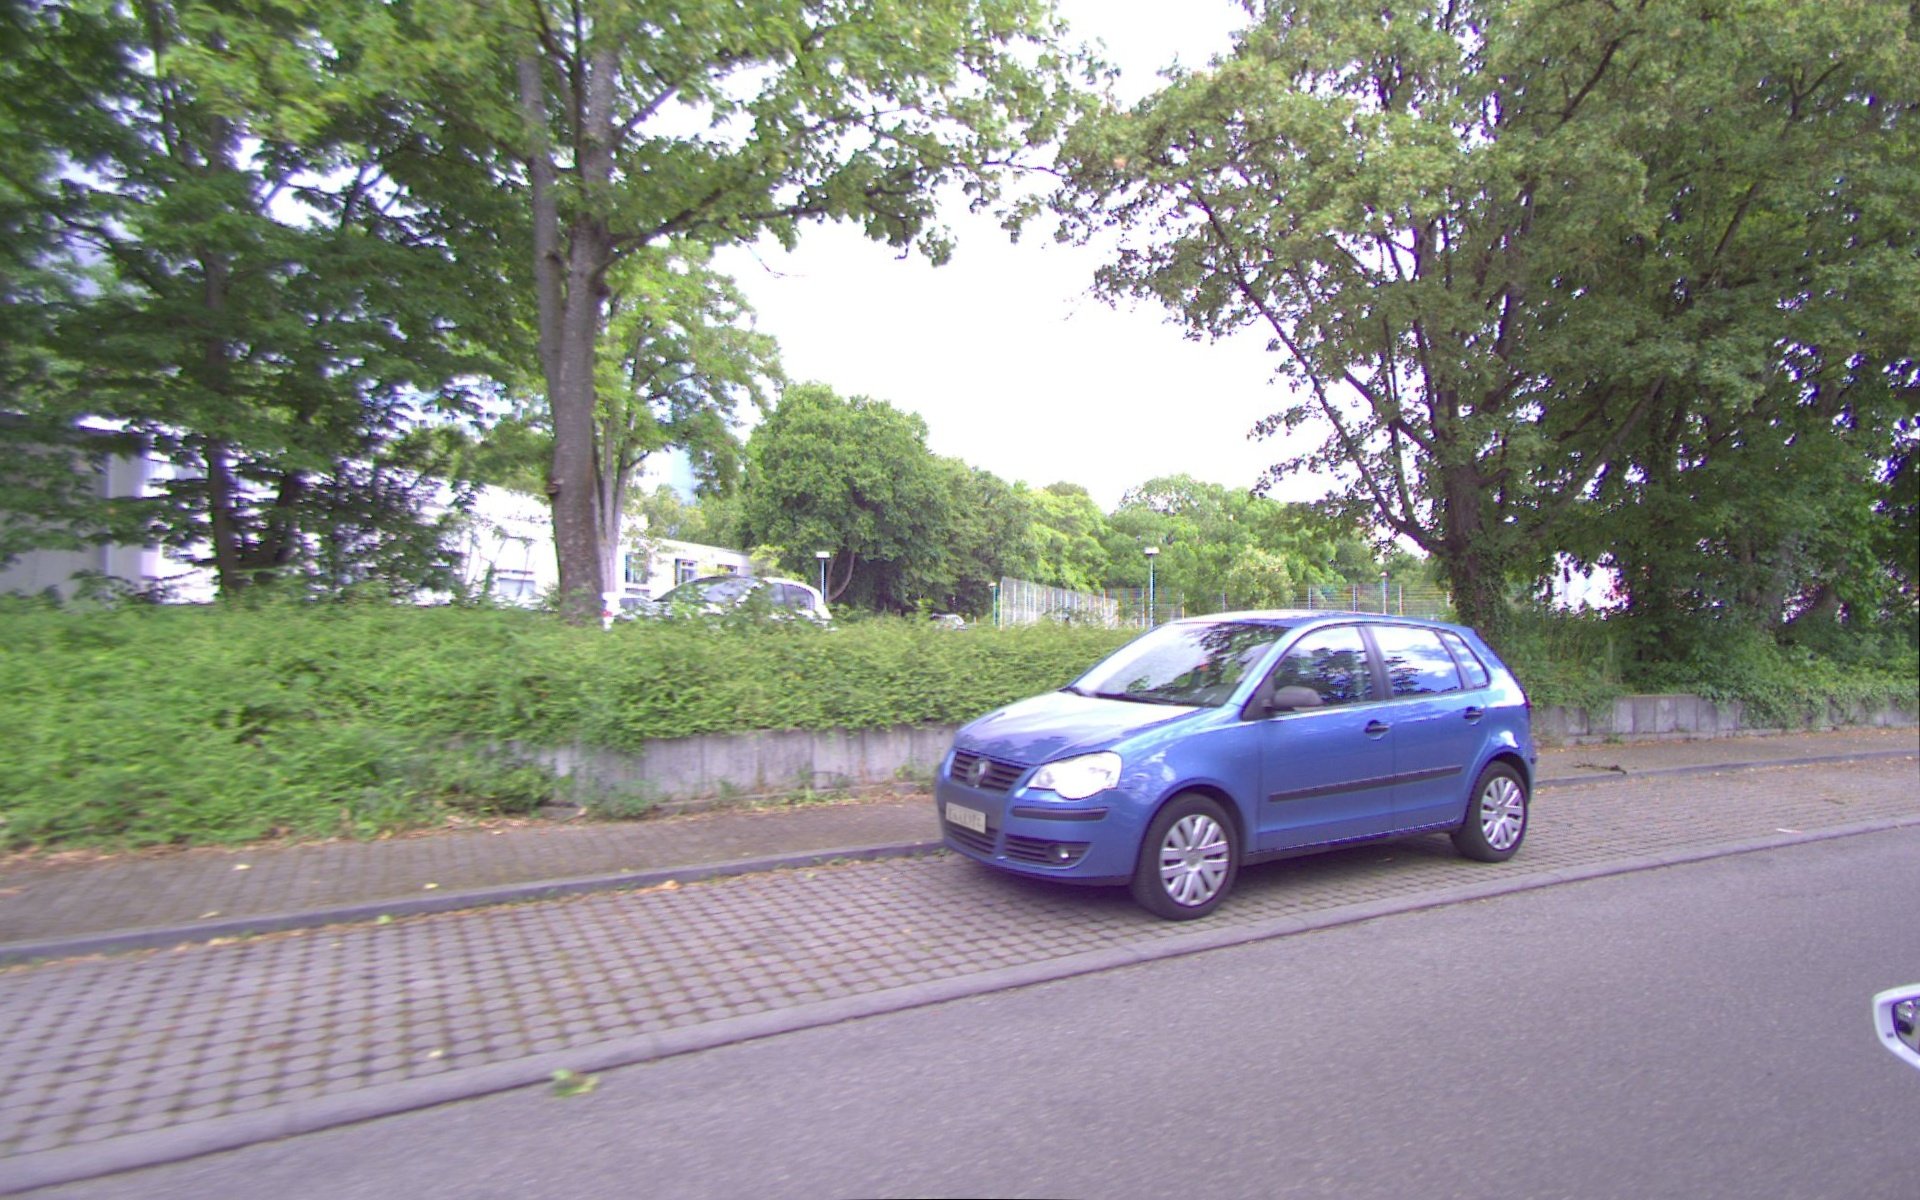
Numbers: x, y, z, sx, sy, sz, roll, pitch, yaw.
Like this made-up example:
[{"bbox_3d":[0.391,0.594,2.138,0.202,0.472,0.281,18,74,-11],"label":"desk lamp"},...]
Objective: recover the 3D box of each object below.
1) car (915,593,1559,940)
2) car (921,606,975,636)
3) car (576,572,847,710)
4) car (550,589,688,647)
[{"bbox_3d":[1.708,0.757,5.892,3.676,1.478,1.526,1,-2,-30],"label":"car"},{"bbox_3d":[-0.683,1.249,59.459,1.960,1.706,4.001,-1,-2,19],"label":"car"},{"bbox_3d":[-3.269,0.495,14.026,1.712,1.644,3.872,-1,0,22],"label":"car"},{"bbox_3d":[-9.553,0.508,28.408,1.754,1.461,3.618,3,0,21],"label":"car"}]
